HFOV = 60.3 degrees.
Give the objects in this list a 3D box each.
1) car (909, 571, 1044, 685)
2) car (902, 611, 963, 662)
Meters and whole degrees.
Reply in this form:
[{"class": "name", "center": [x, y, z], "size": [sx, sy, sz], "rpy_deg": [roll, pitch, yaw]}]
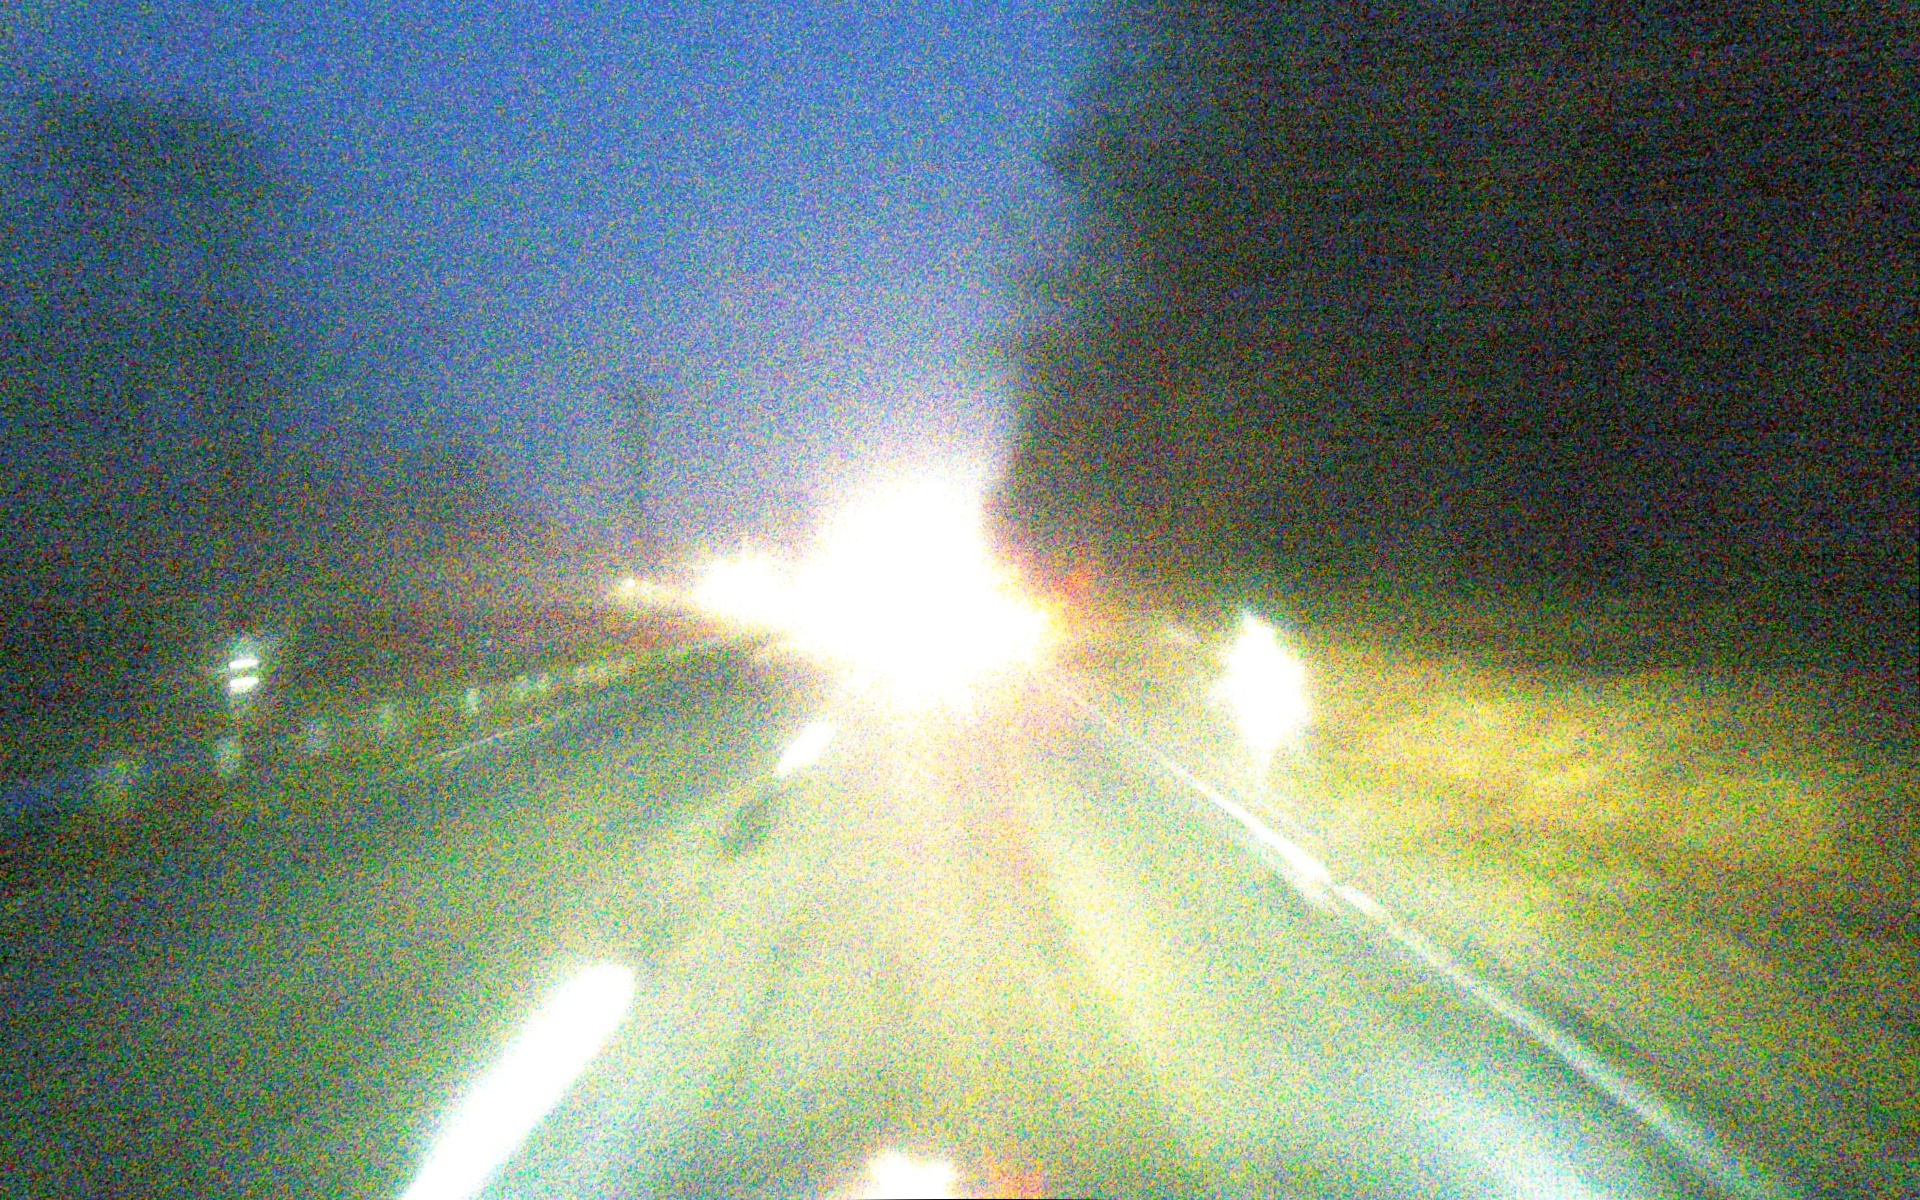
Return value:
[{"class": "car", "center": [0.314, 0.584, 32.880], "size": [2.407, 1.993, 4.911], "rpy_deg": [-3, -2, 0]}, {"class": "car", "center": [-1.191, 1.515, 69.690], "size": [1.957, 2.049, 3.990], "rpy_deg": [-1, -1, -10]}]
